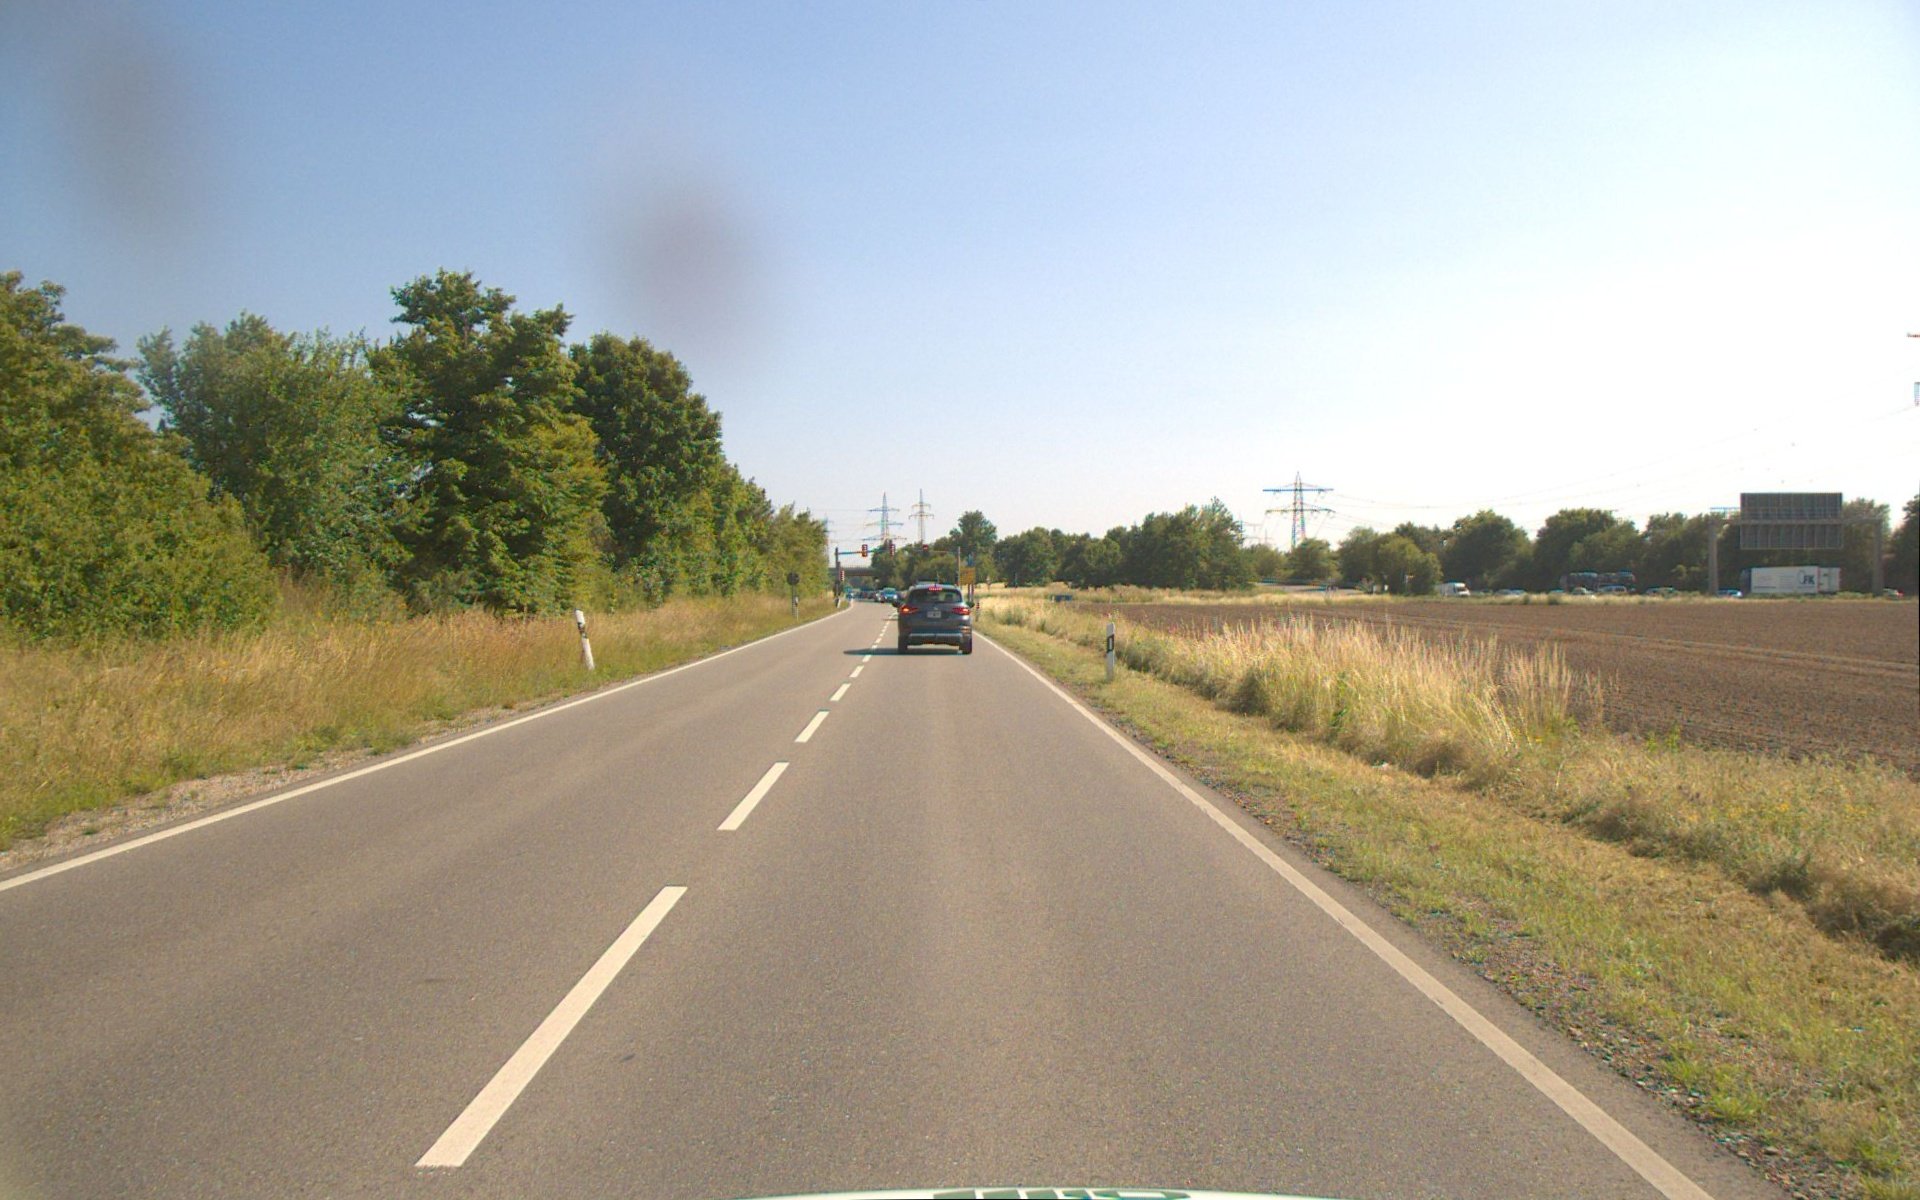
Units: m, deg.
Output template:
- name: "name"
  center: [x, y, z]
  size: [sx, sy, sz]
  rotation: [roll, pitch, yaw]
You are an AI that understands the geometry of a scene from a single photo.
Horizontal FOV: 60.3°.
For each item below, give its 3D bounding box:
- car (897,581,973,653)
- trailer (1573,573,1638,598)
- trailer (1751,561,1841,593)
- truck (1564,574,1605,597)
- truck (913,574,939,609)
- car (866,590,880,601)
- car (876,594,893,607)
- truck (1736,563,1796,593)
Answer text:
- name: "car"
  center: [-0.650, 0.366, 40.004]
  size: [1.750, 1.657, 3.999]
  rotation: [0, 1, -2]
- name: "trailer"
  center: [89.870, -2.023, 230.680]
  size: [3.219, 3.324, 13.446]
  rotation: [0, 1, -3]
- name: "trailer"
  center: [93.603, -2.508, 185.441]
  size: [3.219, 3.324, 12.449]
  rotation: [-1, 0, -3]
- name: "truck"
  center: [89.533, -2.117, 237.380]
  size: [3.219, 3.324, 6.425]
  rotation: [0, 1, -3]
- name: "truck"
  center: [-3.093, -0.763, 151.063]
  size: [2.290, 3.120, 5.808]
  rotation: [1, 0, -1]
- name: "car"
  center: [-11.639, -0.646, 220.968]
  size: [1.651, 1.404, 3.529]
  rotation: [0, 1, -5]
- name: "car"
  center: [-9.184, 0.022, 200.933]
  size: [1.781, 1.567, 3.995]
  rotation: [0, 0, -6]
- name: "truck"
  center: [93.257, -2.522, 191.518]
  size: [3.219, 3.324, 6.975]
  rotation: [-1, 0, -3]
